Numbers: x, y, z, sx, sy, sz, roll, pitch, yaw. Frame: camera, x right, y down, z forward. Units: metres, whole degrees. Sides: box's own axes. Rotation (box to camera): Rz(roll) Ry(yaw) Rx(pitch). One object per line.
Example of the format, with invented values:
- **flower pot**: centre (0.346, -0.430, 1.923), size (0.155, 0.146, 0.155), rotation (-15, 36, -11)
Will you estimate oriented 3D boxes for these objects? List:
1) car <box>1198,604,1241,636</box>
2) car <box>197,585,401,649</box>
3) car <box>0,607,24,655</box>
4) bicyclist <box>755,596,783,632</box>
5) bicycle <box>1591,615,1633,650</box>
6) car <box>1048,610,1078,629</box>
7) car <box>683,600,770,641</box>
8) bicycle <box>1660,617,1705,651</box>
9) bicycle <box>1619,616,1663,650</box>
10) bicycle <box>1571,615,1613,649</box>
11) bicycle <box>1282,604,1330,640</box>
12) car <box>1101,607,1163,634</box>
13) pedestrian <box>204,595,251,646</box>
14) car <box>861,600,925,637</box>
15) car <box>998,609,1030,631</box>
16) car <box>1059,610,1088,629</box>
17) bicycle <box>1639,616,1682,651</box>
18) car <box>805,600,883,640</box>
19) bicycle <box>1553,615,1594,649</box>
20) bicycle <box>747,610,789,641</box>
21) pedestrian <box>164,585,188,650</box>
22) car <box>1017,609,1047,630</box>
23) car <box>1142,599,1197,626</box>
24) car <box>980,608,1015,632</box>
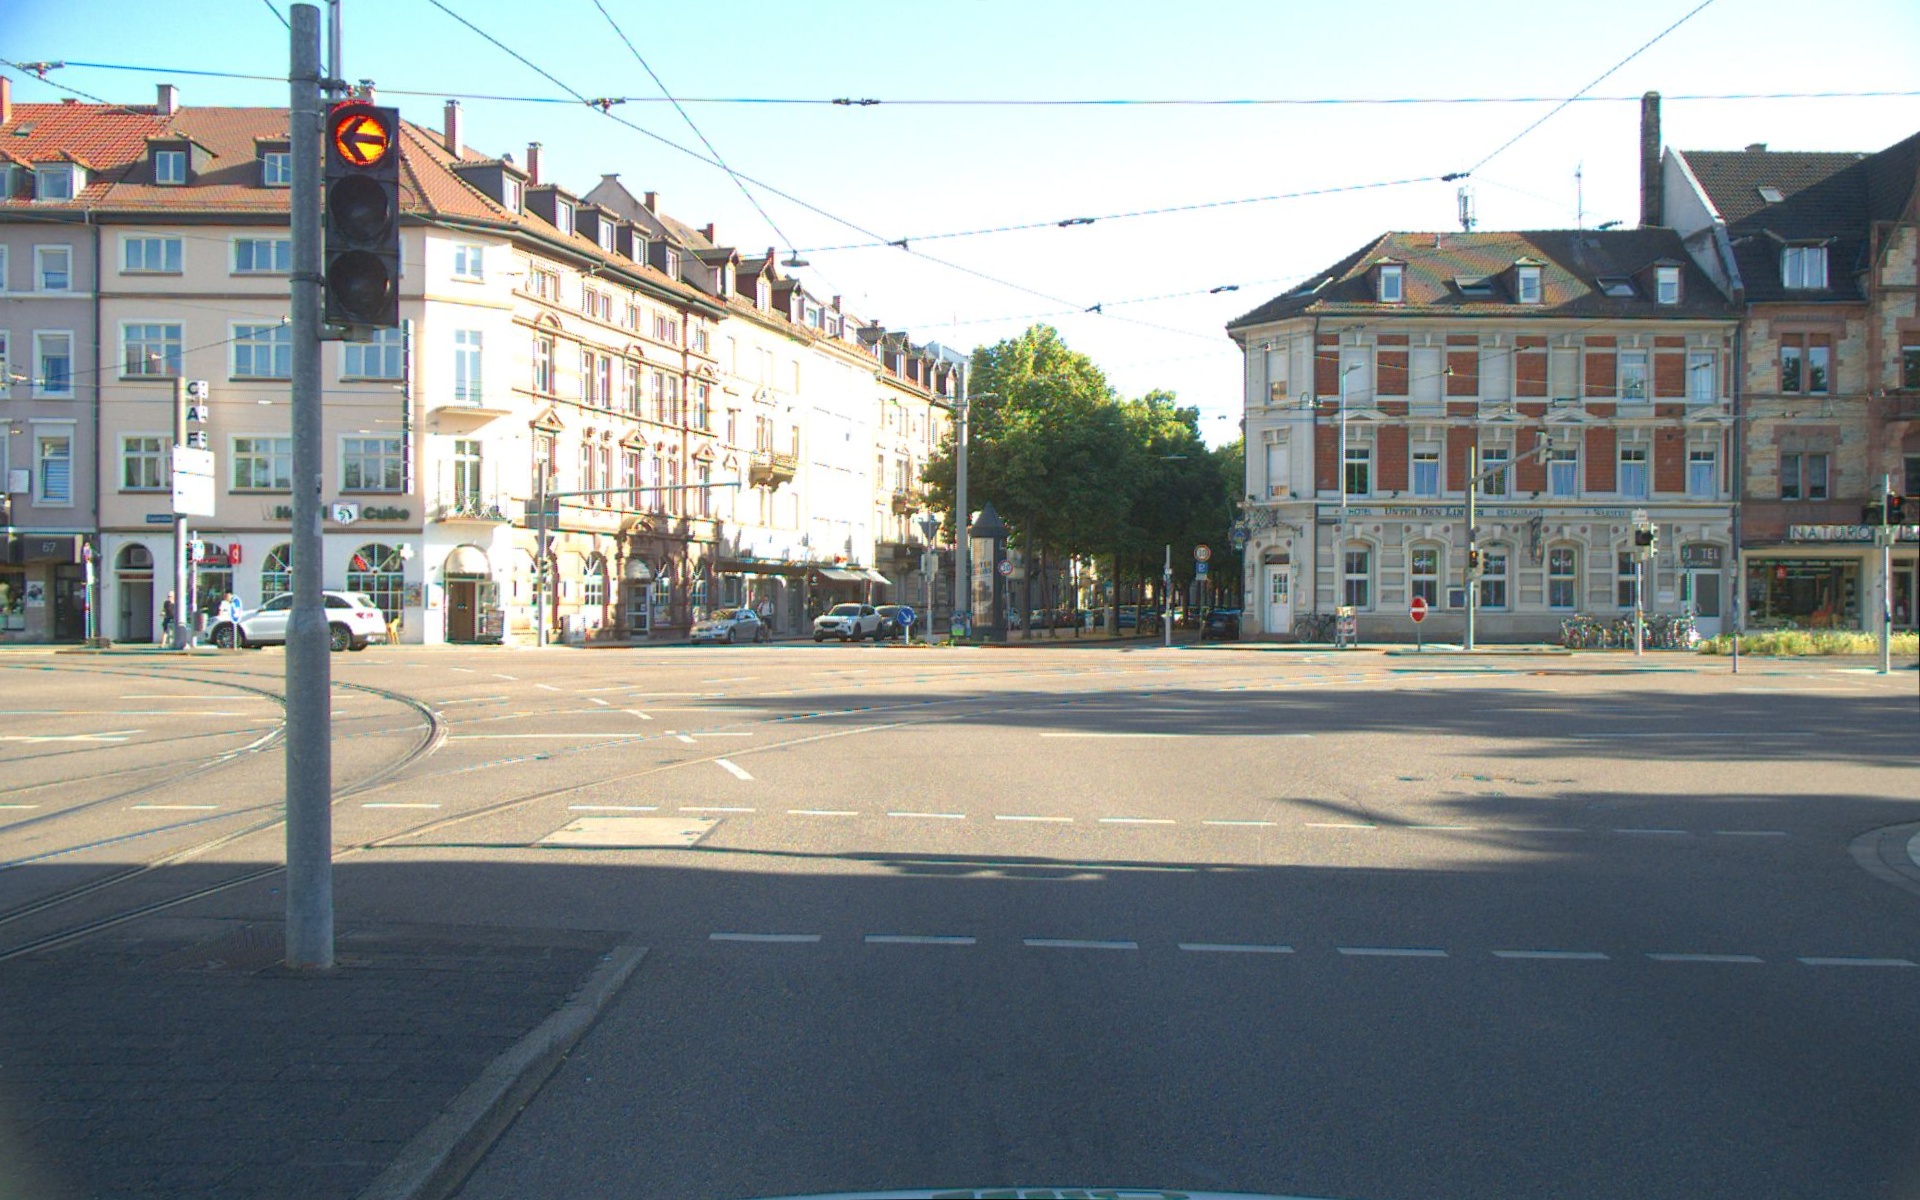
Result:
- **car**: centre (12.976, 1.004, 82.465), size (1.616, 1.551, 3.755), rotation (0, -1, 17)
- **car**: centre (-17.916, 0.449, 45.026), size (4.751, 1.689, 1.999), rotation (0, 0, -3)
- **car**: centre (-32.061, 0.998, 52.155), size (3.910, 1.489, 1.998), rotation (-1, 1, -6)
- **bicyclist**: centre (-7.558, 0.544, 65.464), size (0.776, 1.399, 1.109), rotation (0, 0, 14)
- **bicycle**: centre (21.119, 1.047, 53.594), size (0.593, 1.069, 1.641), rotation (0, 0, -6)
- **car**: centre (8.245, 1.542, 131.706), size (1.704, 1.422, 4.127), rotation (3, 0, 13)
- **car**: centre (-9.449, 0.813, 67.220), size (2.052, 1.572, 4.367), rotation (0, 0, 13)
- **bicycle**: centre (23.332, 1.085, 53.423), size (0.593, 1.069, 1.641), rotation (0, 0, -6)
- **bicycle**: centre (21.945, 1.061, 53.326), size (0.593, 1.069, 1.641), rotation (0, 0, -6)
- **bicycle**: centre (20.467, 1.036, 53.568), size (0.593, 1.069, 1.641), rotation (0, 0, -6)
- **bicycle**: centre (11.977, 0.764, 57.302), size (1.603, 1.243, 0.607), rotation (0, 0, 16)
- **car**: centre (12.006, 1.406, 115.384), size (4.024, 1.675, 1.748), rotation (3, 0, 15)
- **pedestrian**: centre (-23.884, 0.661, 53.936), size (1.043, 1.618, 1.042), rotation (0, 0, 1)
- **car**: centre (-2.958, 0.798, 73.472), size (1.951, 1.540, 4.004), rotation (0, 0, 11)
- **car**: centre (3.805, 1.360, 115.840), size (1.704, 1.422, 4.127), rotation (3, 0, 9)
- **car**: centre (9.422, 1.578, 136.502), size (1.704, 1.422, 4.127), rotation (3, 0, 13)
- **bicycle**: centre (22.606, 1.072, 53.402), size (0.593, 1.069, 1.641), rotation (0, 0, -6)
- **car**: centre (-4.650, 0.791, 67.079), size (2.052, 1.525, 4.003), rotation (0, 0, 13)
- **bicycle**: centre (19.827, 1.025, 53.512), size (0.593, 1.069, 1.641), rotation (0, 0, -6)
- **bicycle**: centre (-7.572, 0.995, 65.494), size (0.734, 1.155, 2.812), rotation (0, 0, 14)
- **pedestrian**: centre (-24.665, 0.539, 52.034), size (0.498, 2.049, 0.505), rotation (0, 0, 2)
- **car**: centre (5.336, 1.417, 122.840), size (1.704, 1.422, 4.127), rotation (3, 0, 9)
- **car**: centre (16.959, 1.017, 133.665), size (4.026, 1.952, 1.746), rotation (3, 0, 21)
- **car**: centre (2.528, 1.313, 110.016), size (1.704, 1.422, 4.127), rotation (3, 0, 9)
